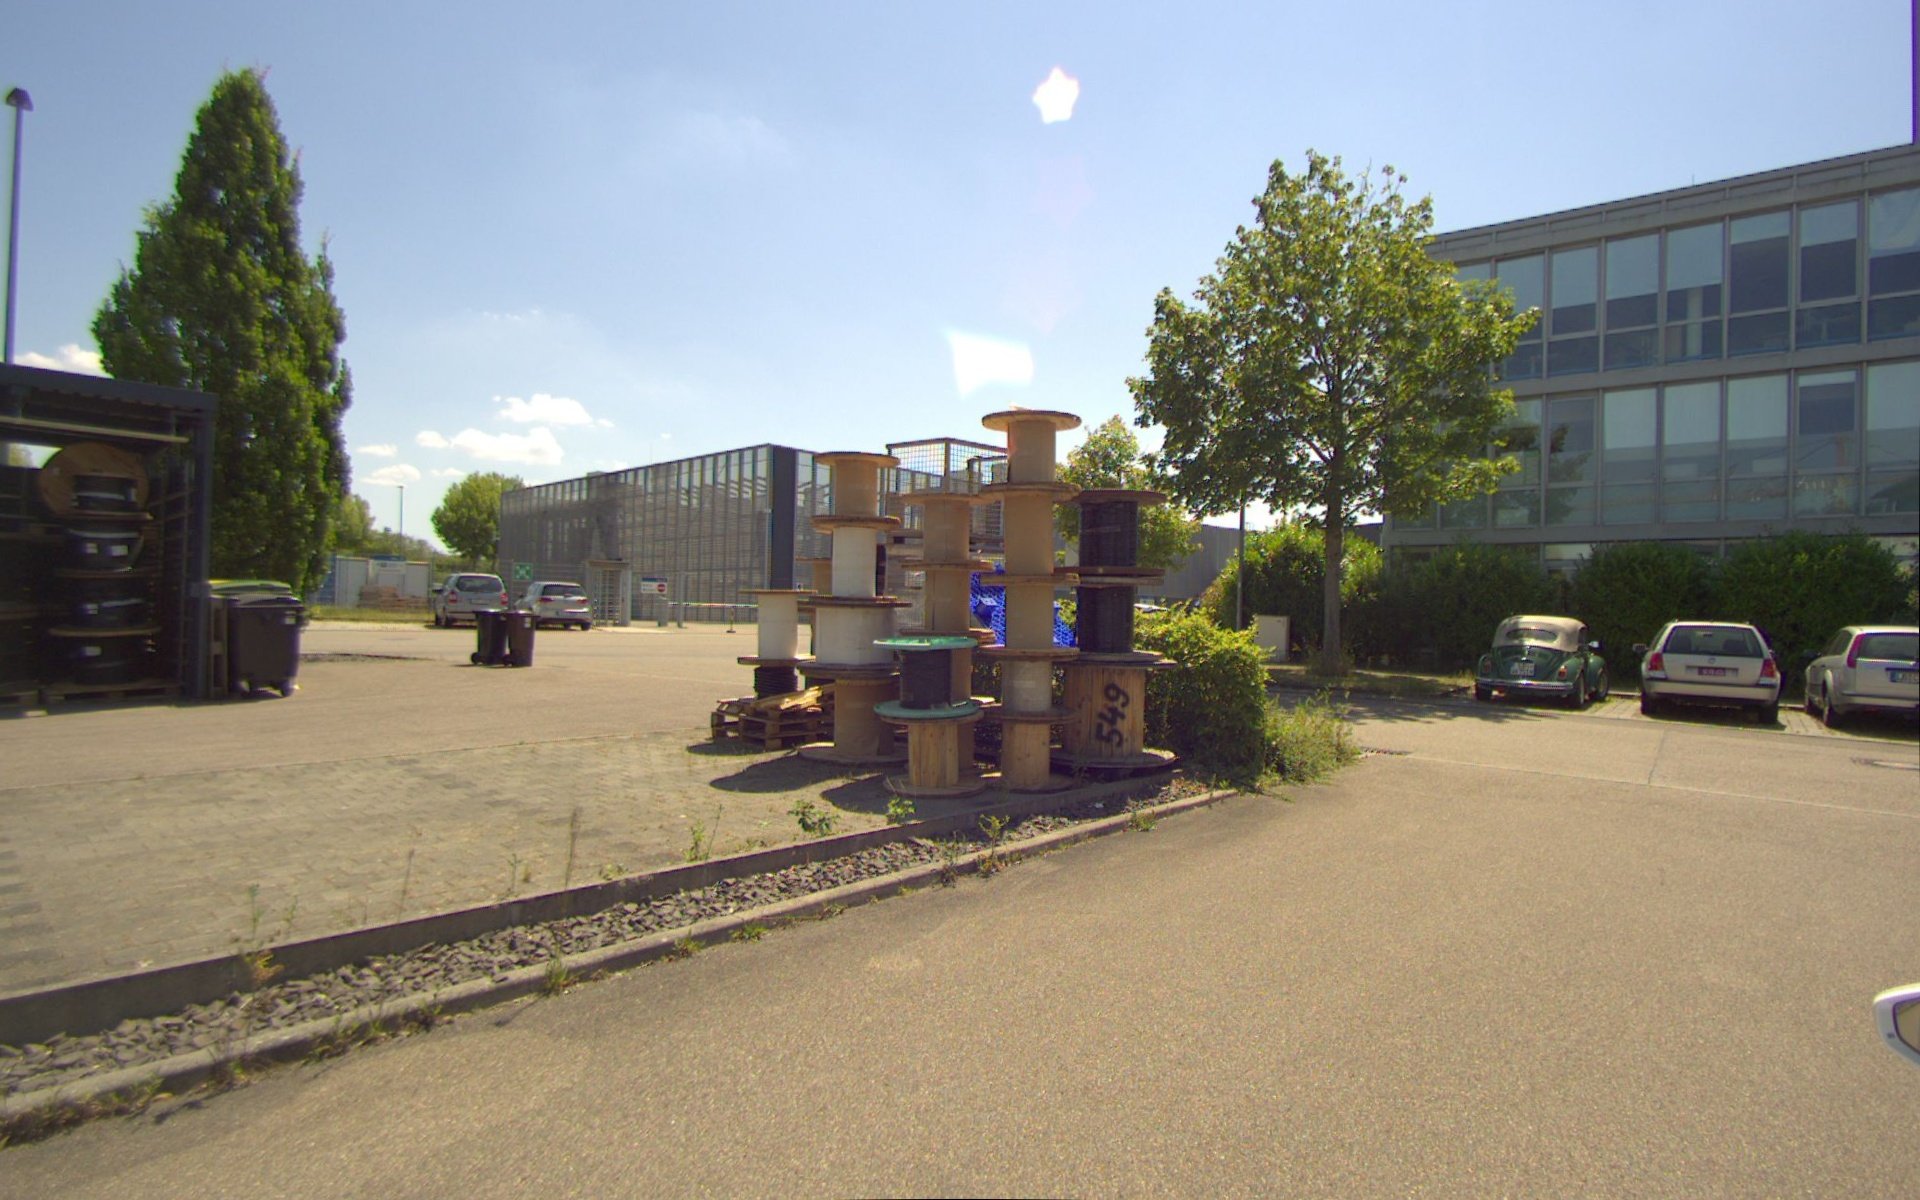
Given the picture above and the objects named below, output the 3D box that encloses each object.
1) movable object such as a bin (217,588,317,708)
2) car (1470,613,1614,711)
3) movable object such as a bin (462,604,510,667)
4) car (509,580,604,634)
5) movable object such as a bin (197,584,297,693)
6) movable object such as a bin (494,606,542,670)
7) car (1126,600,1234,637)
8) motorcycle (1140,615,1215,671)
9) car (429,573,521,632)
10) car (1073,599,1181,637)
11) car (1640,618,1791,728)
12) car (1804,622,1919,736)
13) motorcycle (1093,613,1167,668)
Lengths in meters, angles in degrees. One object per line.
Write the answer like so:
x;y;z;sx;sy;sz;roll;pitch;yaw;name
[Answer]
-8.298;0.557;12.025;0.878;1.362;0.803;2;-1;-42;movable object such as a bin
10.153;0.987;17.408;1.523;1.468;3.636;2;1;40;car
-7.983;0.590;16.934;0.570;1.041;0.426;1;0;9;movable object such as a bin
-12.750;0.176;31.635;1.979;1.511;3.963;3;-1;-33;car
-9.246;0.486;13.030;0.966;1.347;0.701;2;-1;-42;movable object such as a bin
-7.408;0.630;16.832;0.567;1.050;0.426;1;0;9;movable object such as a bin
9.970;0.832;45.910;1.979;1.511;4.810;1;1;-33;car
4.702;0.897;21.618;0.705;1.153;1.947;1;0;41;motorcycle
-14.789;0.058;30.521;1.979;1.611;3.963;3;-1;-33;car
7.321;0.761;44.437;1.979;1.511;4.810;1;1;-33;car
12.015;1.057;16.054;1.709;1.468;3.640;2;1;36;car
13.985;1.114;15.080;1.742;1.468;3.640;2;1;36;car
3.816;0.882;22.445;0.705;1.153;1.947;1;0;41;motorcycle
